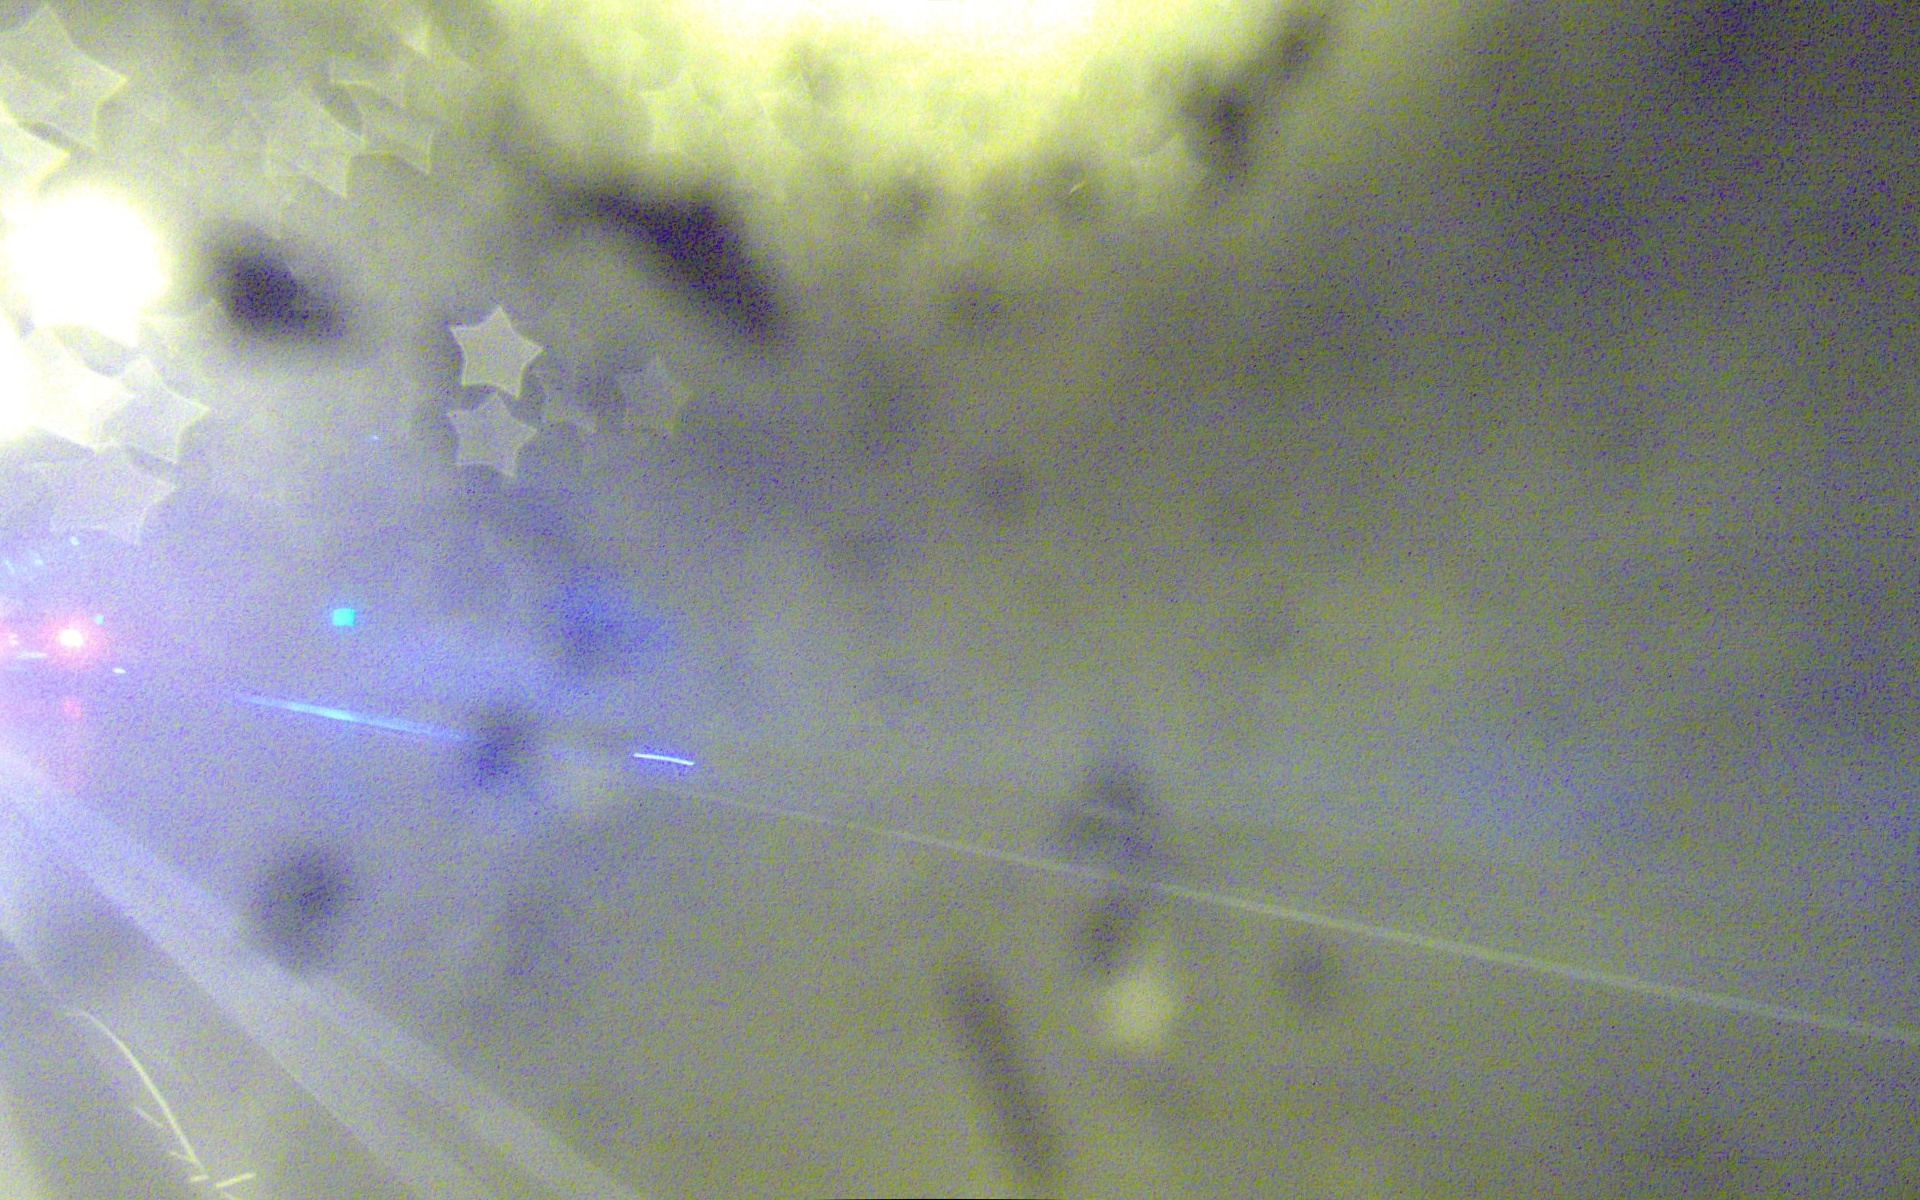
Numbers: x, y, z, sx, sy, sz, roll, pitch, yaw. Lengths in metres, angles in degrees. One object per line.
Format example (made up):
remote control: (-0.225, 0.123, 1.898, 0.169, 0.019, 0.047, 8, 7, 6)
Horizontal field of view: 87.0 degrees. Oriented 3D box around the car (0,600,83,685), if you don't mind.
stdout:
car: (-21.040, 0.924, 22.548, 4.001, 1.741, 1.893, -2, -2, 44)
